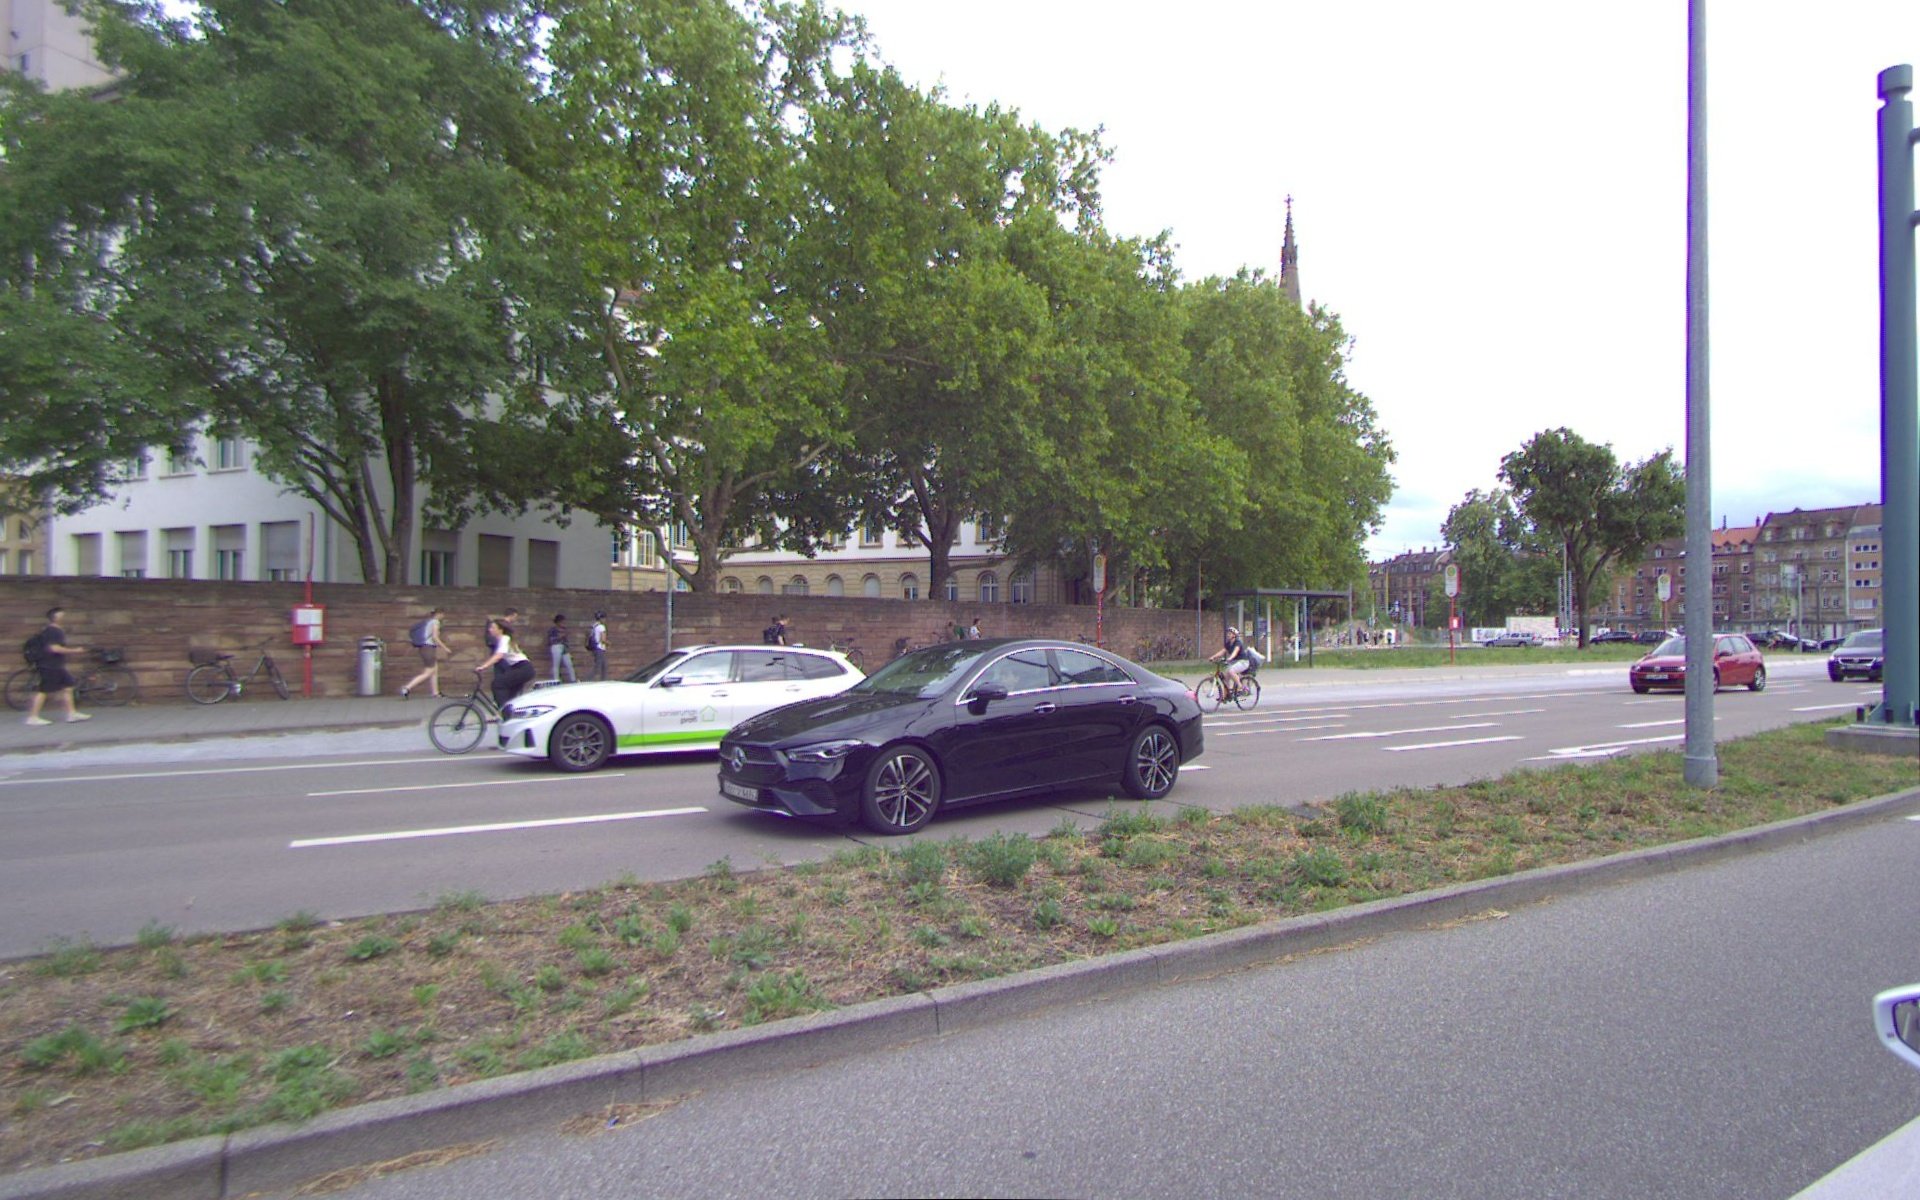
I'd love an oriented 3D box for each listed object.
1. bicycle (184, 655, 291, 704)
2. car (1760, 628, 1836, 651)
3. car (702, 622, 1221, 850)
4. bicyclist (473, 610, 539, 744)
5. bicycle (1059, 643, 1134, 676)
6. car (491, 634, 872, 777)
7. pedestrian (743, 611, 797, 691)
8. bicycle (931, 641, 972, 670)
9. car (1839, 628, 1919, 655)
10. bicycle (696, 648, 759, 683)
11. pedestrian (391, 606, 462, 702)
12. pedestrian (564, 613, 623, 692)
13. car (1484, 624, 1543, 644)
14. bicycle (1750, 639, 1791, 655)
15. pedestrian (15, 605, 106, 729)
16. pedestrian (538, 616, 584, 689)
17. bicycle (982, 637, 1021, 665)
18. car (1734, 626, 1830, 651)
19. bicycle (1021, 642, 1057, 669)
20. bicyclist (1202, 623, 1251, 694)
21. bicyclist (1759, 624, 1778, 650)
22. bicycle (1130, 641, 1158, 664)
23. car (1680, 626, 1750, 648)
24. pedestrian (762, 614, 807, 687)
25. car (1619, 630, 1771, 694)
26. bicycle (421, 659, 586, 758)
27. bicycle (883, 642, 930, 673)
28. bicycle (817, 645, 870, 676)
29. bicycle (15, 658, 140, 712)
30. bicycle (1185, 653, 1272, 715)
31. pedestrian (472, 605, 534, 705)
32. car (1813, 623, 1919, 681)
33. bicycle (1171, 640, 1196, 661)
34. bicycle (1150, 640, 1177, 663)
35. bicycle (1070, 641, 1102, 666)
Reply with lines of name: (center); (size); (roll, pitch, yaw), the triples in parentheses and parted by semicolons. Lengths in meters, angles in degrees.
bicycle: (-13.541, 1.471, 18.856); (1.607, 0.807, 0.437); (0, 2, -40)
car: (57.292, 2.678, 68.706); (1.568, 1.413, 3.739); (1, 0, -34)
car: (0.176, 0.955, 8.740); (4.366, 1.509, 1.788); (1, -2, -38)
bicyclist: (-6.278, 1.042, 13.913); (0.800, 1.806, 0.616); (1, -1, -25)
bicycle: (4.039, 1.750, 29.670); (2.305, 0.931, 0.469); (1, -1, -23)
car: (-3.464, 1.204, 12.722); (4.363, 1.509, 1.793); (1, -2, -30)
pedestrian: (-4.414, 1.171, 23.360); (0.748, 1.806, 0.922); (0, -2, 31)
bicycle: (-0.275, 1.764, 32.021); (0.343, 0.890, 1.514); (2, 0, 42)
car: (56.825, 2.518, 61.813); (1.643, 1.537, 3.832); (1, 0, -34)
bicycle: (-5.982, 1.682, 25.888); (0.436, 0.838, 1.612); (2, 0, 42)
pedestrian: (-10.375, 1.037, 19.532); (0.748, 1.806, 0.913); (0, -2, 31)
pedestrian: (-8.105, 1.150, 22.215); (0.748, 1.693, 0.922); (0, -2, 31)
car: (47.181, 2.923, 85.752); (1.631, 1.671, 4.127); (1, -2, -35)
bicycle: (51.899, 3.007, 64.355); (0.624, 0.995, 1.952); (1, -2, -34)
pedestrian: (-13.598, 0.990, 15.198); (0.748, 1.806, 0.782); (0, -2, 31)
pedestrian: (-8.988, 1.180, 22.645); (0.579, 1.613, 0.733); (0, -2, 37)
bicycle: (1.418, 1.726, 33.940); (0.435, 0.890, 1.614); (2, 0, 39)
car: (53.881, 2.504, 65.909); (1.643, 1.495, 4.639); (1, 0, -34)
bicycle: (2.804, 1.957, 35.639); (0.435, 0.890, 1.614); (2, 0, 39)
bicyclist: (5.519, 1.204, 20.798); (0.802, 1.437, 0.577); (1, -1, -32)
bicyclist: (51.841, 2.369, 64.411); (0.566, 1.665, 0.781); (1, -2, -35)
bicycle: (7.713, 2.193, 42.045); (0.474, 0.919, 1.615); (2, 0, 35)
car: (54.828, 2.682, 73.001); (1.568, 1.413, 3.739); (1, 0, -34)
pedestrian: (-4.432, 1.274, 25.433); (0.748, 1.806, 0.782); (0, -2, 31)
car: (19.059, 1.537, 25.998); (4.242, 1.509, 1.792); (1, -2, -33)
bicycle: (-6.244, 1.457, 13.809); (2.017, 1.233, 0.616); (1, -1, -26)
bicycle: (-1.613, 1.745, 30.567); (0.411, 0.890, 1.547); (2, 0, 42)
bicycle: (-3.318, 1.724, 28.716); (0.436, 0.838, 1.612); (2, 0, 42)
bicycle: (-15.271, 1.460, 17.423); (1.607, 0.807, 0.437); (0, 2, -40)
bicycle: (5.585, 1.725, 20.855); (1.942, 1.186, 0.578); (1, -1, -32)
pedestrian: (-8.460, 1.007, 18.605); (0.749, 1.806, 0.719); (0, -2, 36)
car: (28.821, 1.612, 31.525); (4.250, 1.687, 1.793); (1, -3, -31)
bicycle: (10.111, 2.275, 45.482); (0.474, 0.919, 1.615); (2, 0, 35)
bicycle: (8.898, 2.235, 43.892); (0.474, 0.919, 1.615); (2, 0, 35)
bicycle: (4.822, 2.046, 38.281); (0.475, 0.919, 1.615); (-1, -2, 37)
